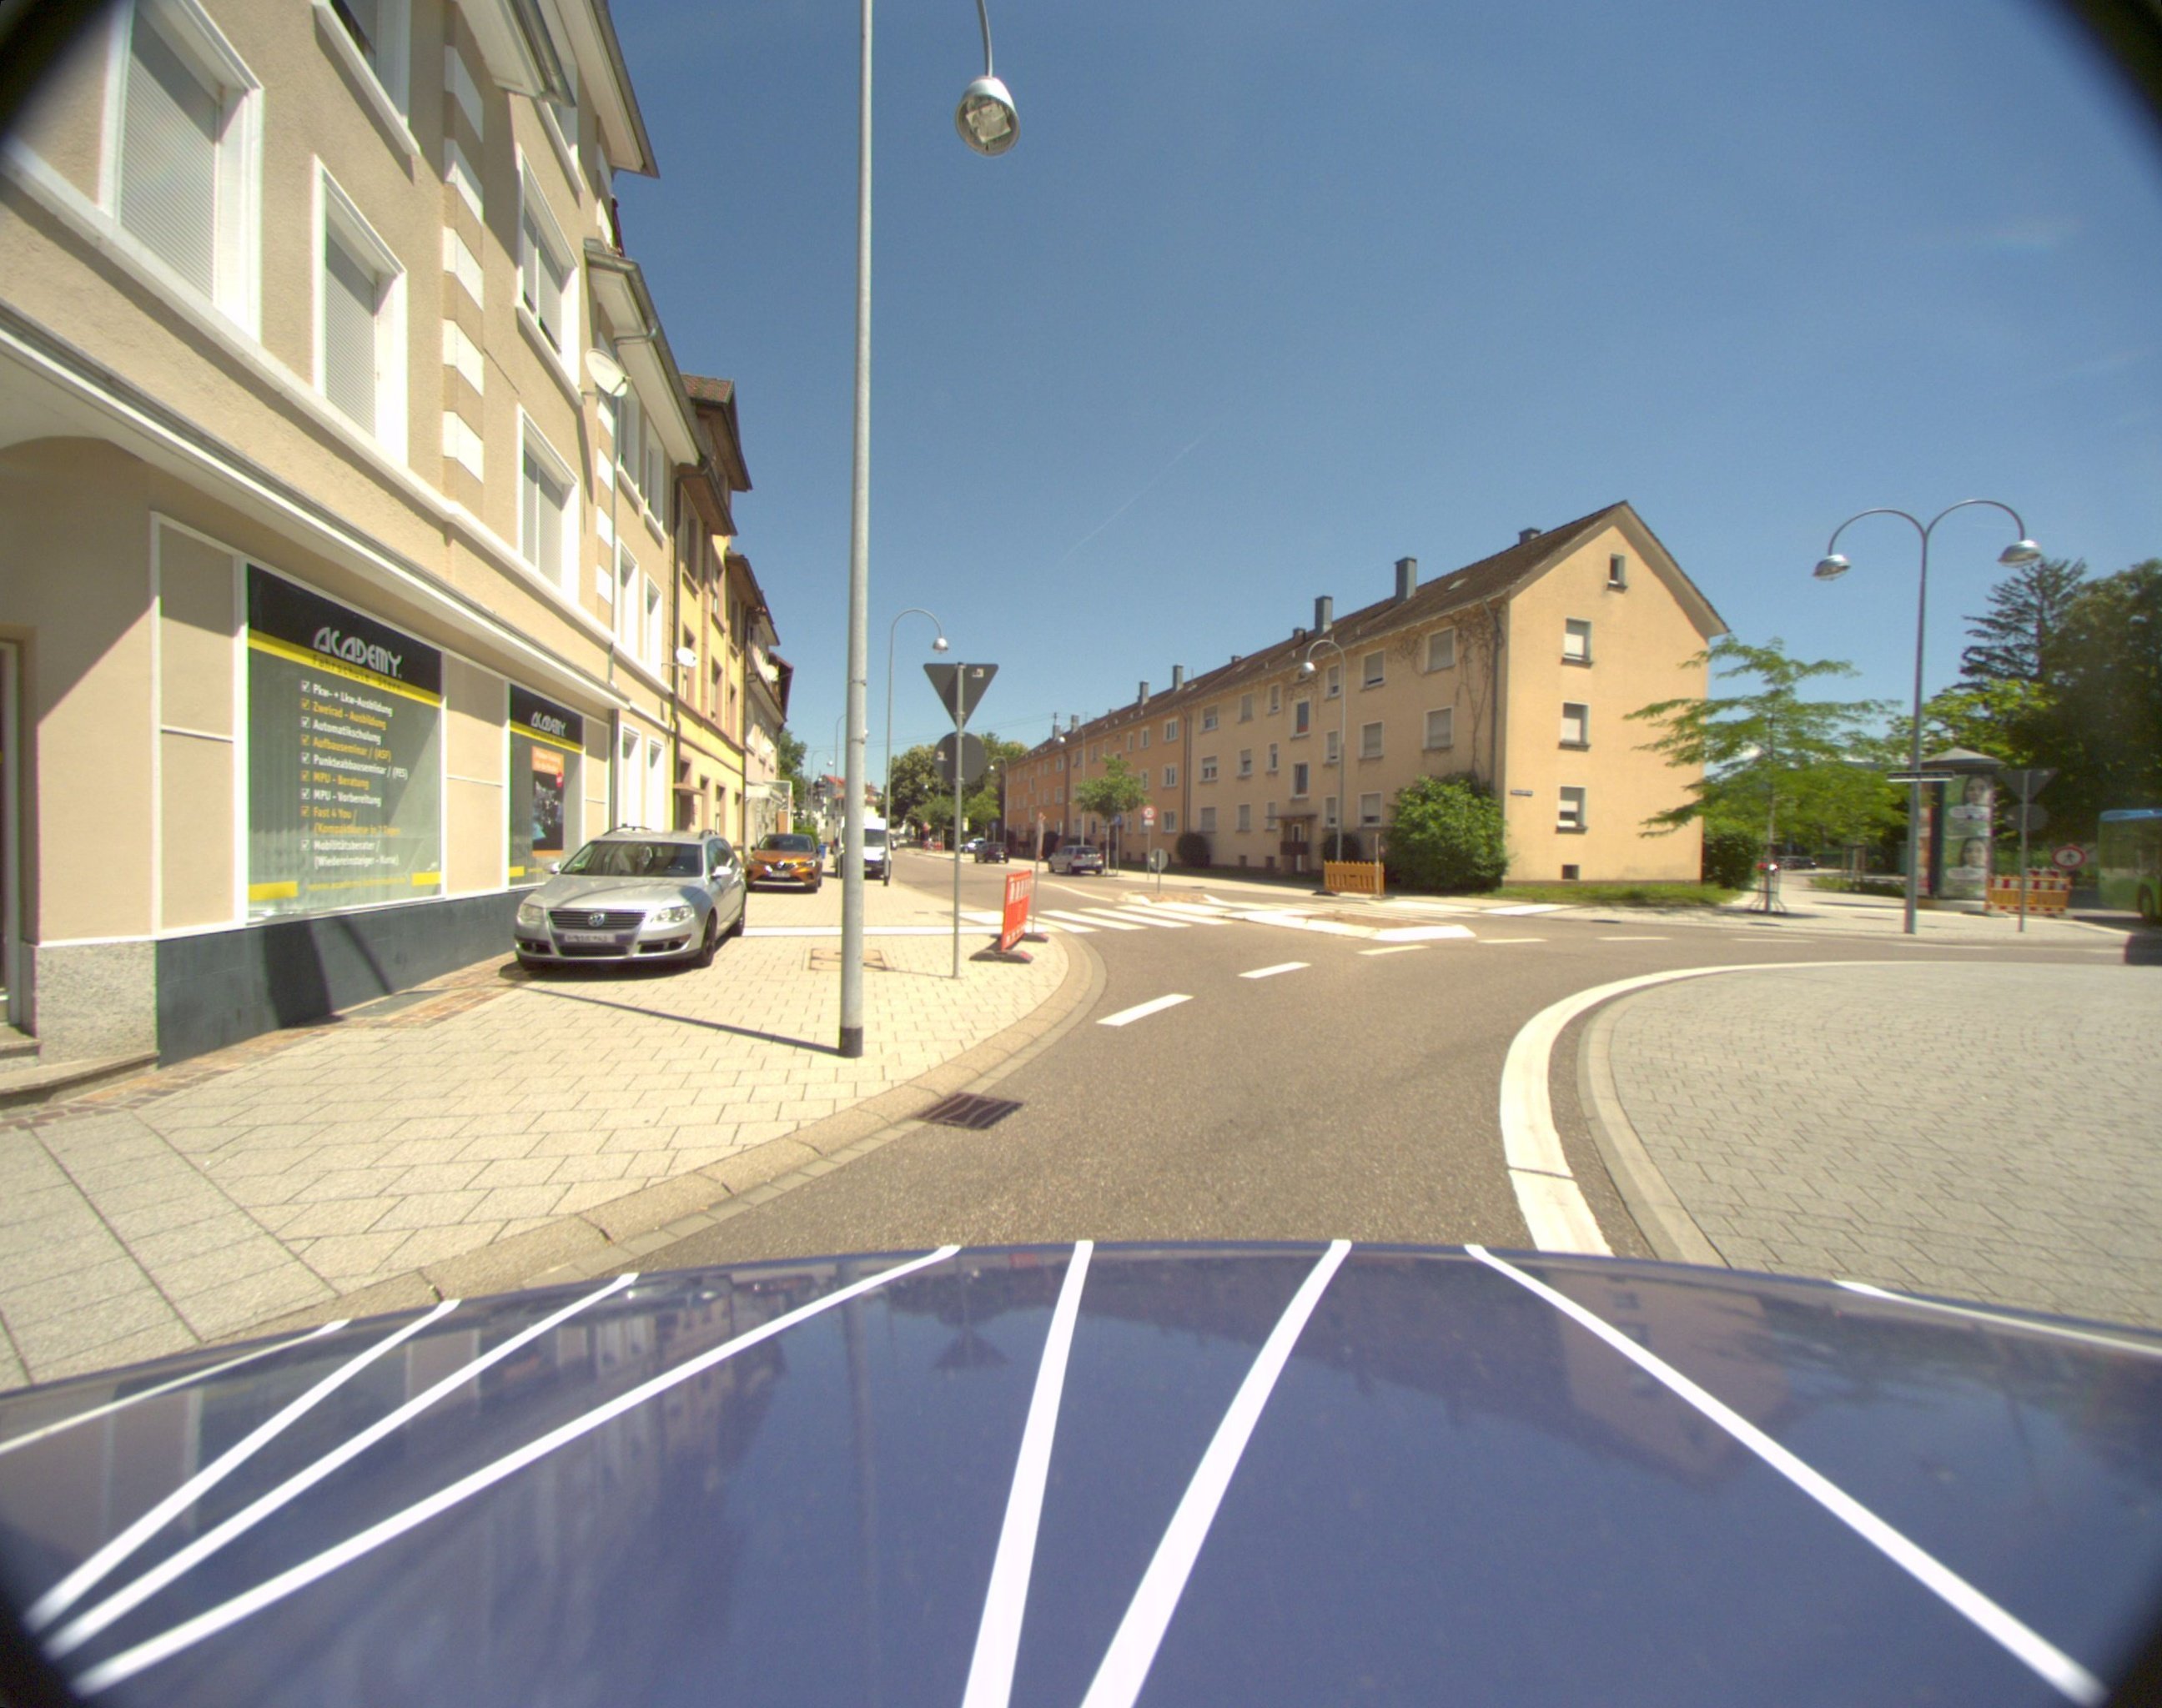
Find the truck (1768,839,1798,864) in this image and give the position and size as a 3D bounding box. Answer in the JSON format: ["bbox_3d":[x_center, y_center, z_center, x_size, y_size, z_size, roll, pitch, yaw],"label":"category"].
[{"bbox_3d":[92.171,-0.321,99.900,2.483,3.162,8.467,2,2,41],"label":"truck"}]

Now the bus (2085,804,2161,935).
[{"bbox_3d":[28.390,0.327,18.890,2.822,3.092,8.941,-1,0,44],"label":"bus"}]

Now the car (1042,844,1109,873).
[{"bbox_3d":[-0.354,0.192,39.634,2.003,1.412,4.079,0,1,-25],"label":"car"}]

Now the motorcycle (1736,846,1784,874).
[{"bbox_3d":[51.851,0.443,58.134,1.994,2.002,4.008,2,1,31],"label":"motorcycle"}]

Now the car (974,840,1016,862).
[{"bbox_3d":[-6.280,-0.239,54.803,1.865,1.498,4.553,-1,2,-21],"label":"car"}]

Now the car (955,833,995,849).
[{"bbox_3d":[-12.908,-1.542,92.704,4.445,1.863,1.814,1,2,-30],"label":"car"}]

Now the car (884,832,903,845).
[{"bbox_3d":[-22.367,-1.810,90.739,1.667,1.488,3.751,1,1,-22],"label":"car"}]

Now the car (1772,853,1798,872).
[{"bbox_3d":[80.182,0.968,86.597,1.994,2.002,4.009,2,2,41],"label":"car"}]

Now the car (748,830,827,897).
[{"bbox_3d":[-8.074,0.209,21.196,1.680,1.610,4.355,3,0,-17],"label":"car"}]

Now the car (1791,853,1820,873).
[{"bbox_3d":[77.895,0.945,81.782,1.994,2.002,4.009,2,2,41],"label":"car"}]

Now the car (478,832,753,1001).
[{"bbox_3d":[-5.278,0.528,9.345,1.771,1.521,4.681,2,1,-18],"label":"car"}]

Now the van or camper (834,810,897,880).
[{"bbox_3d":[-8.988,-0.392,31.333,2.174,2.574,5.755,2,1,-19],"label":"van or camper"}]
